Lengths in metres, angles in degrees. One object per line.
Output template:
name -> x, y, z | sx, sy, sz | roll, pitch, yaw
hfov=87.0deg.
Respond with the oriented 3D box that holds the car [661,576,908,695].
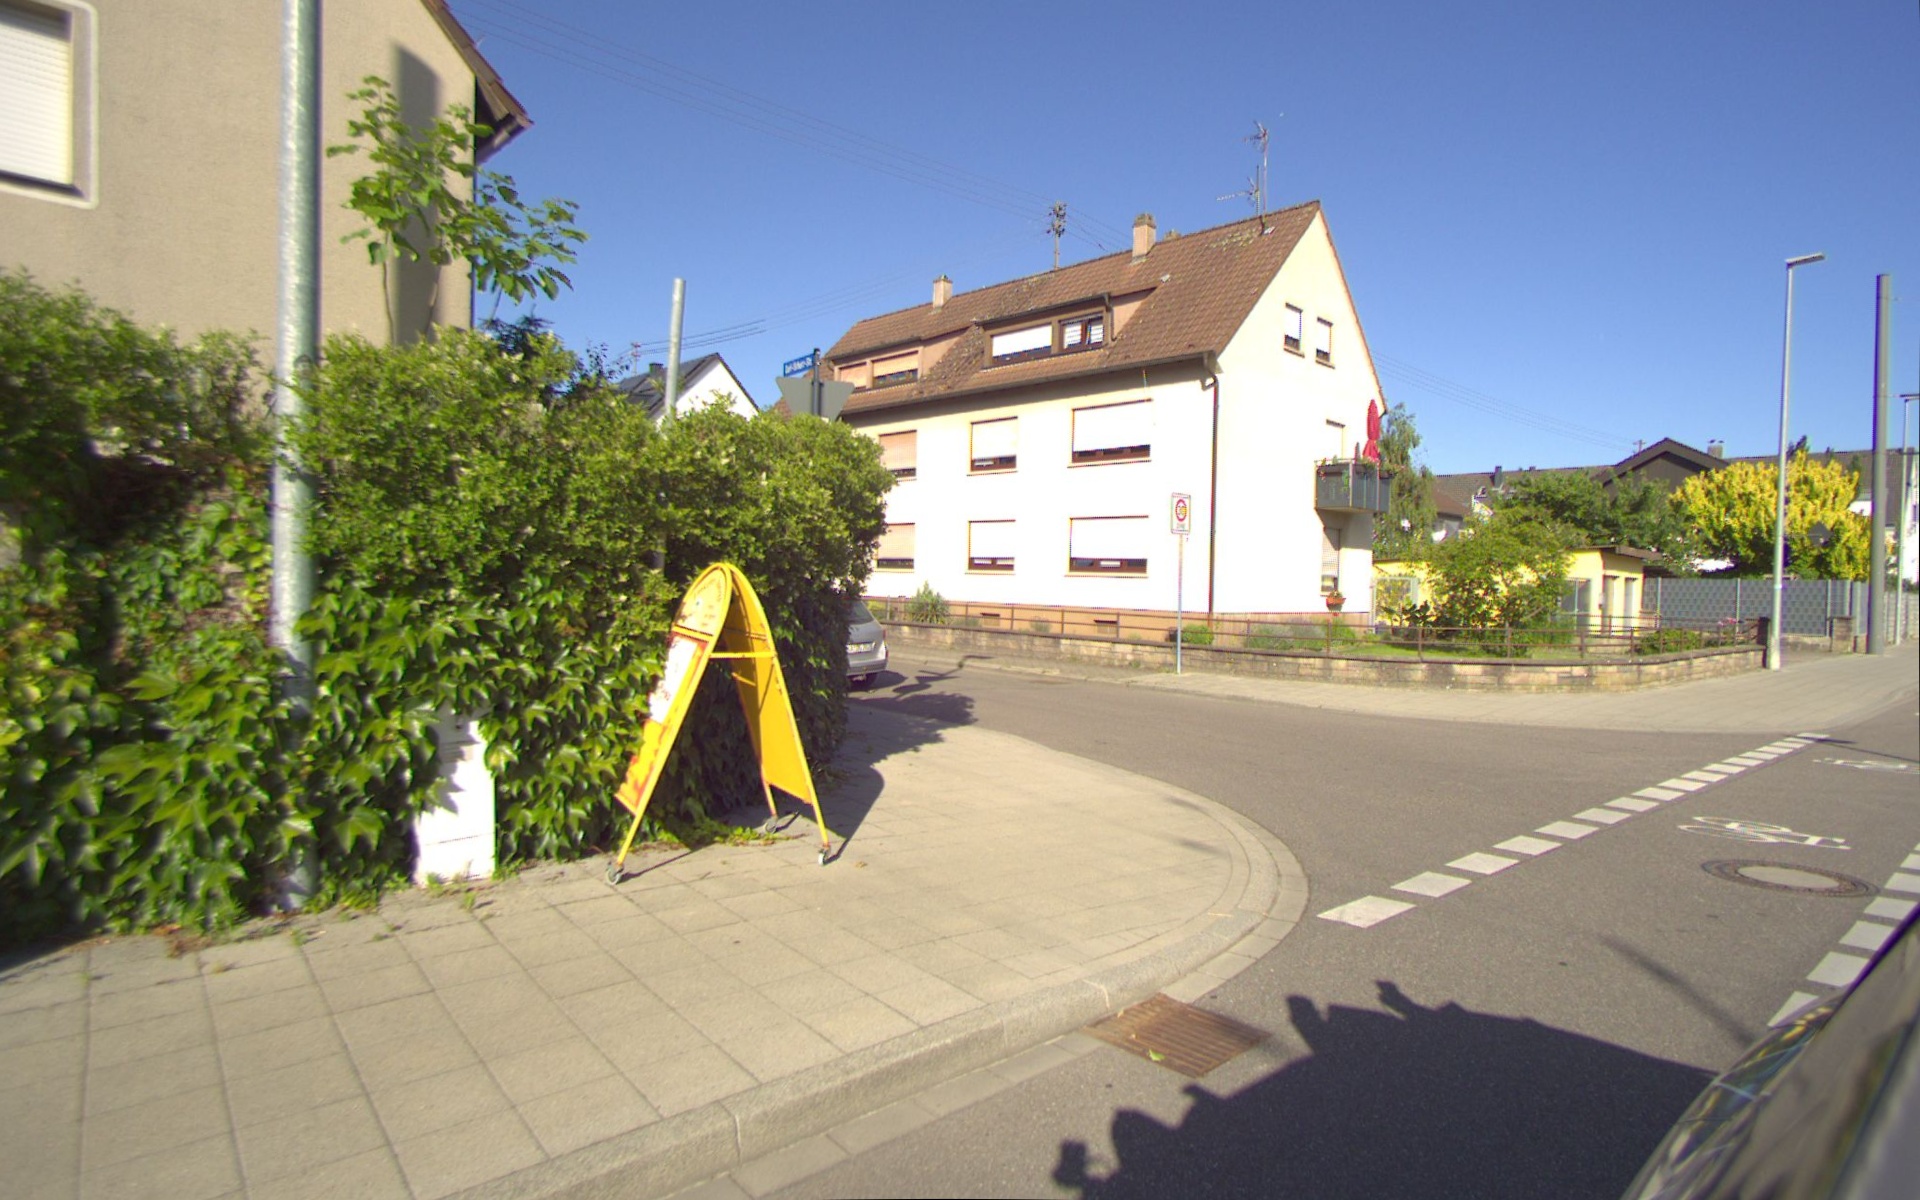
car -> -2.851, 0.435, 15.864 | 1.773, 1.530, 4.141 | -2, 3, -45
